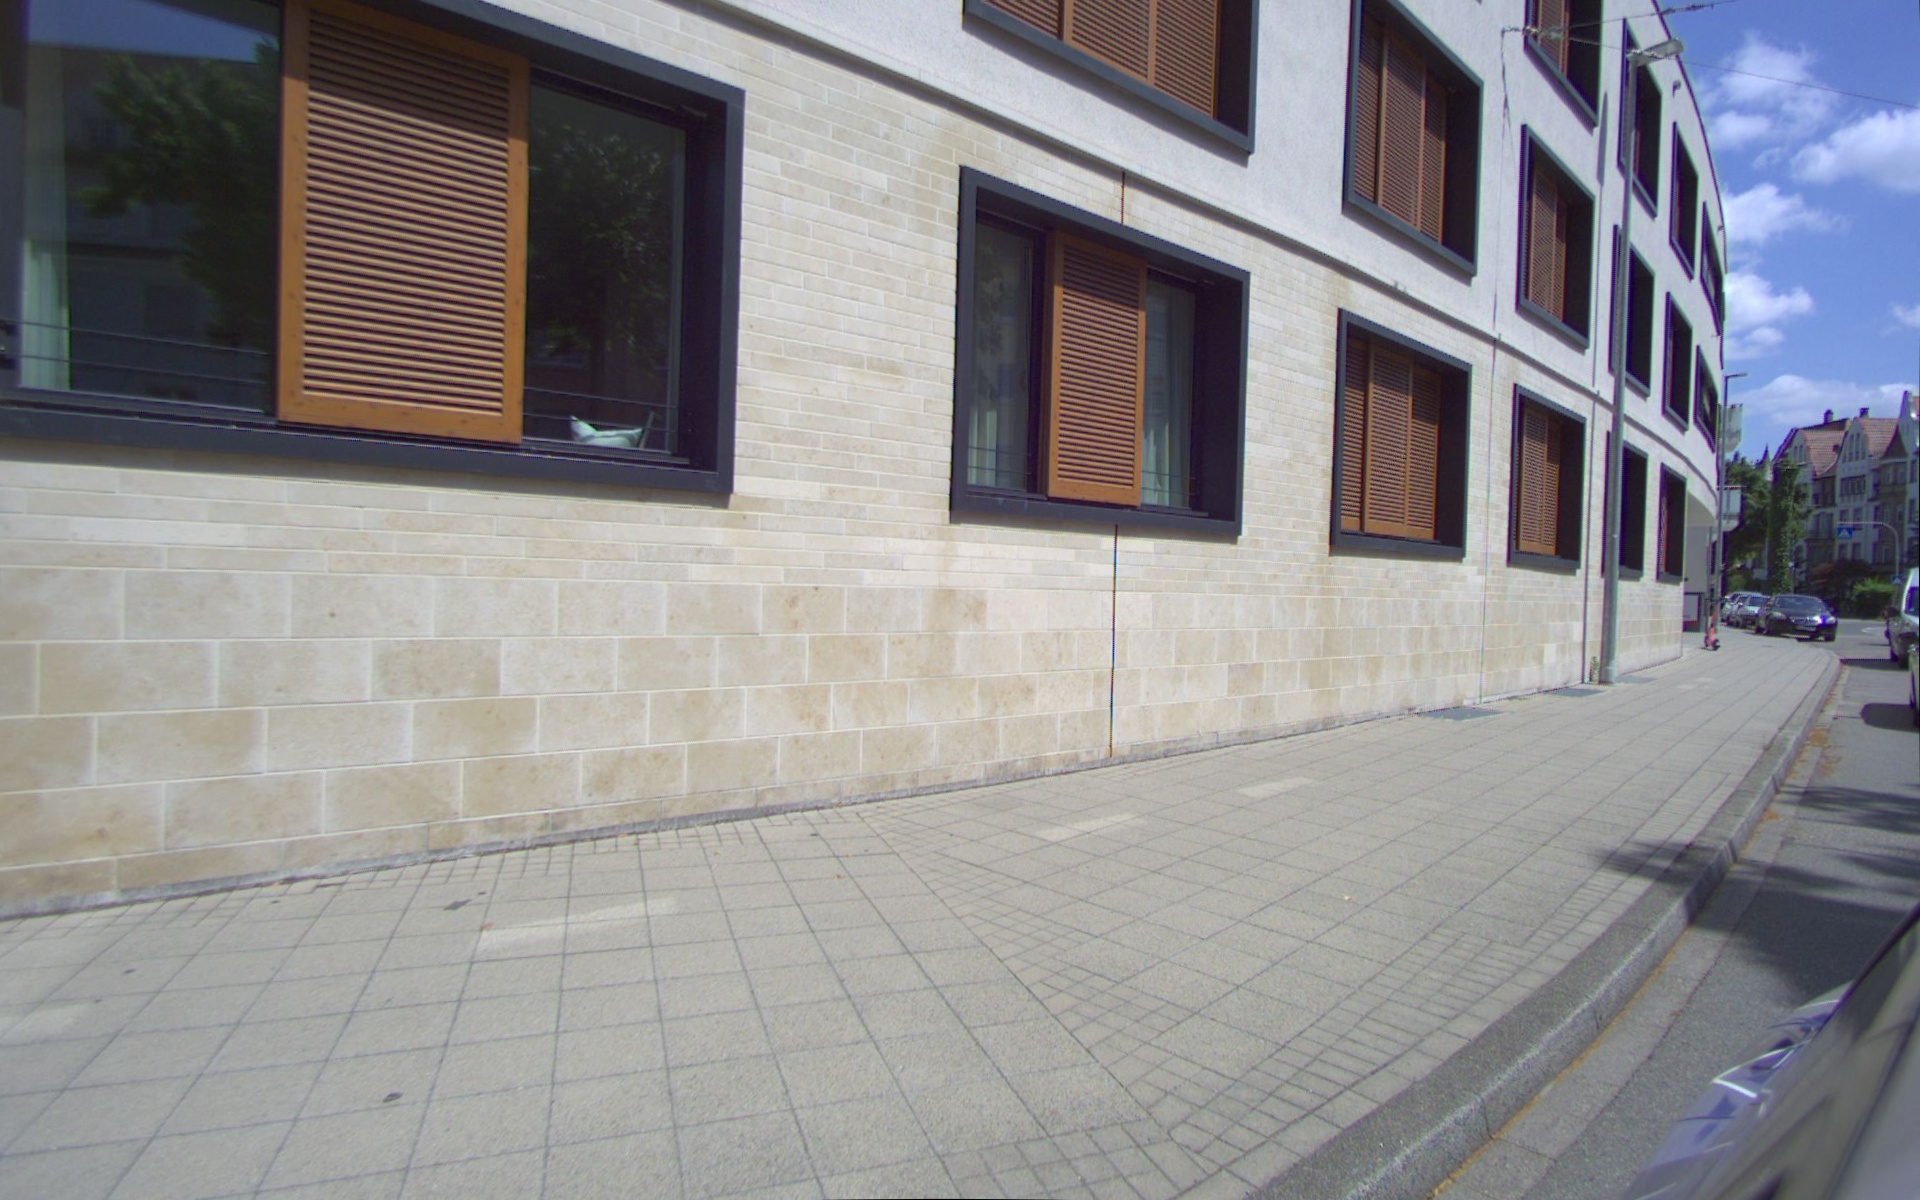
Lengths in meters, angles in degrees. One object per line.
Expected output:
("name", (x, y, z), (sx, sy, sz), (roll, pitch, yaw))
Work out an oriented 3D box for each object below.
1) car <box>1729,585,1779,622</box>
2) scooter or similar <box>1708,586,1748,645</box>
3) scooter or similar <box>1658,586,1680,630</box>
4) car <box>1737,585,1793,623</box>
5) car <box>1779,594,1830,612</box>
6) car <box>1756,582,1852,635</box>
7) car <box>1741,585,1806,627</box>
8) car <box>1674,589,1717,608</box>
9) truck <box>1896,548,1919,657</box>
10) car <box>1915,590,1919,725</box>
("car", (39.974, 0.153, 50.941), (1.726, 1.630, 3.745), (5, 5, 40))
("scooter or similar", (17.743, 0.336, 23.398), (0.579, 1.276, 1.351), (5, 3, 34))
("scooter or similar", (20.714, 0.221, 29.569), (0.420, 1.226, 1.300), (2, 1, 32))
("car", (35.660, 0.149, 44.911), (1.724, 1.450, 3.988), (7, 5, 37))
("car", (70.497, 0.254, 84.539), (1.795, 1.343, 3.977), (3, 2, 18))
("car", (29.183, 0.245, 35.116), (1.793, 1.527, 4.497), (6, 5, 32))
("car", (32.796, 0.211, 40.882), (1.588, 1.450, 3.662), (7, 5, 33))
("car", (76.272, -0.188, 104.987), (1.745, 1.633, 3.870), (7, 3, 6))
("truck", (22.383, 0.027, 22.570), (2.013, 2.277, 5.328), (1, 1, 41))
("car", (12.709, 0.662, 11.826), (4.097, 1.485, 1.800), (0, 0, -40))
